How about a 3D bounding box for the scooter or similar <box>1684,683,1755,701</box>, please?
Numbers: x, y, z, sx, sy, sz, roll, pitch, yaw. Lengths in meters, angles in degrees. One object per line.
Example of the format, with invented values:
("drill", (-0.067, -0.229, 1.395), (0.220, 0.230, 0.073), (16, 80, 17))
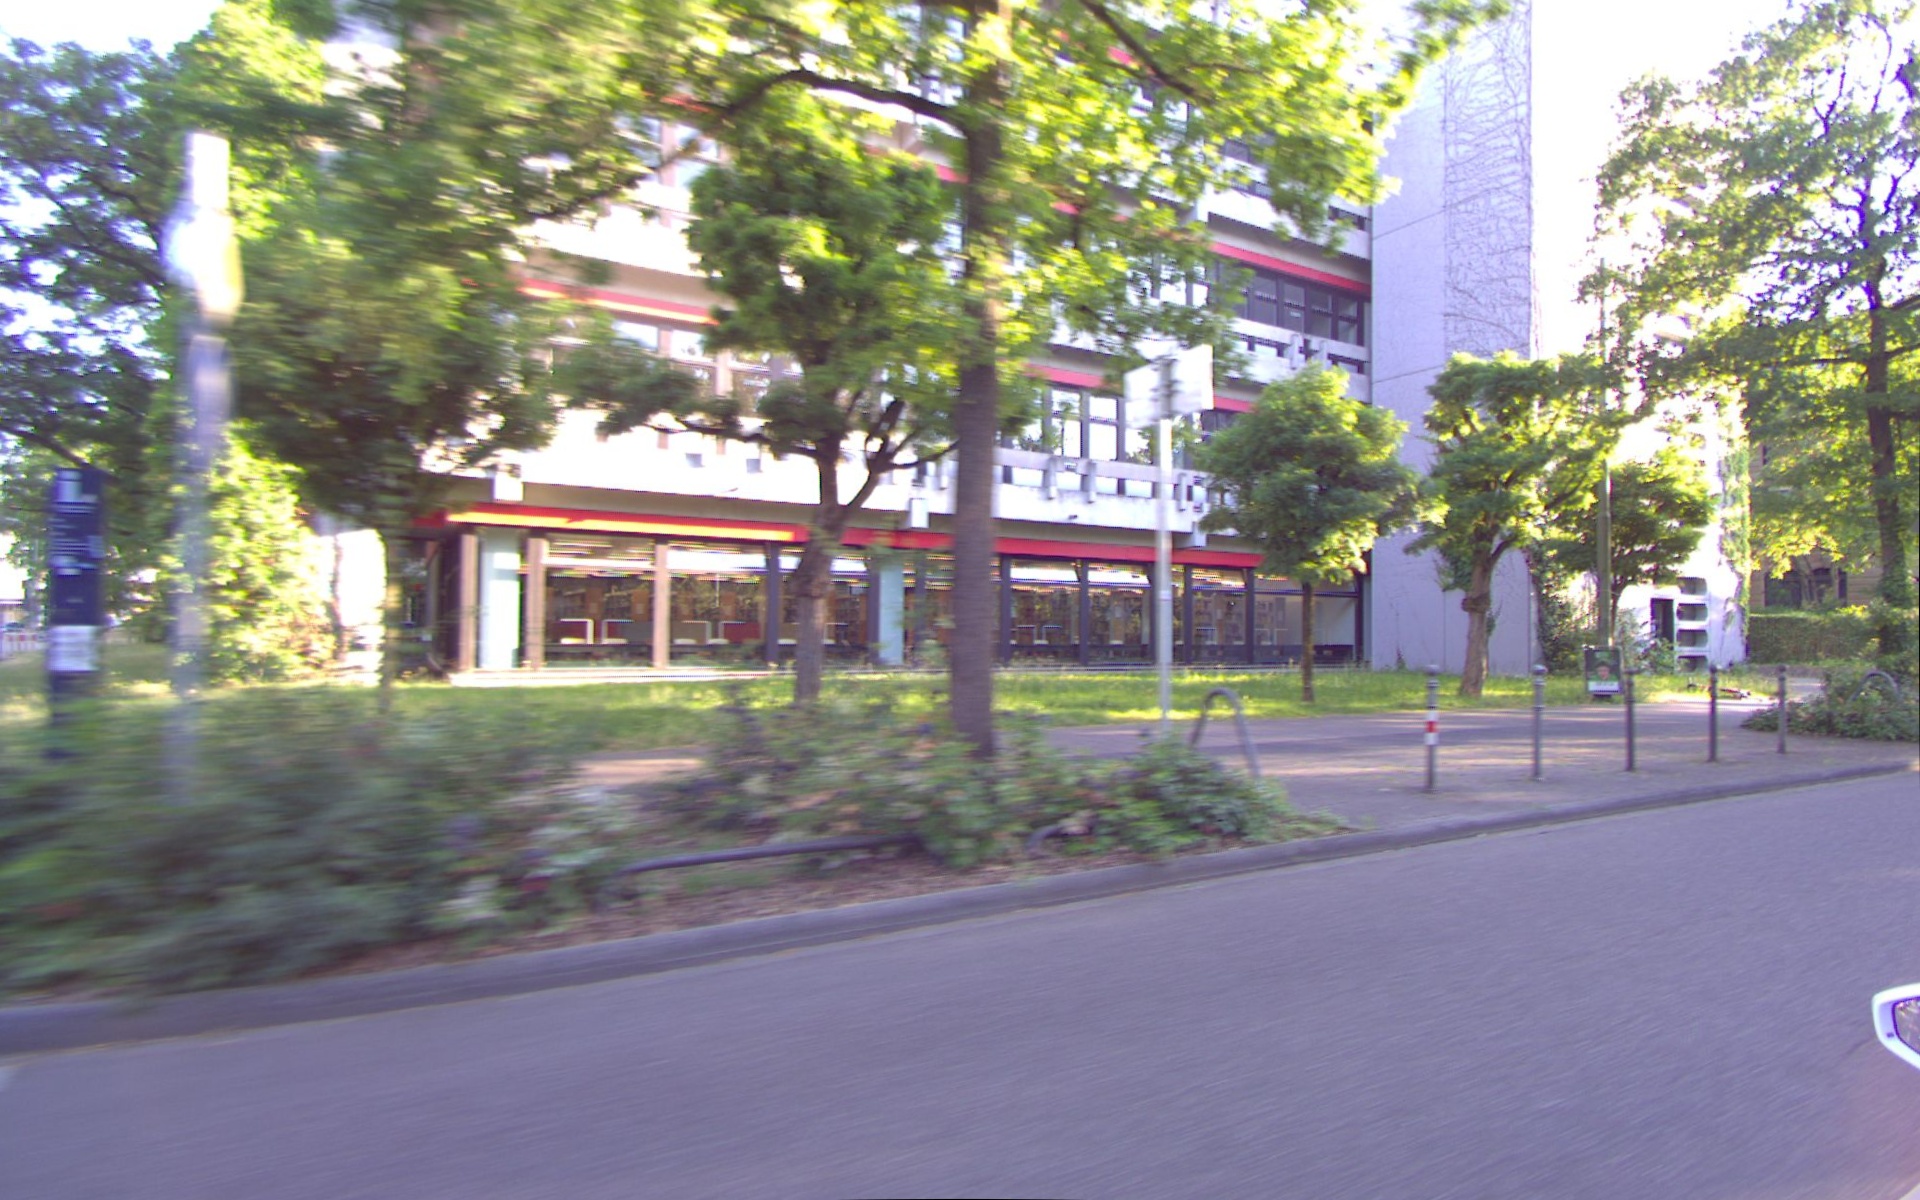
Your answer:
("scooter or similar", (17.274, 2.085, 22.842), (1.149, 0.280, 1.243), (0, -1, 45))
